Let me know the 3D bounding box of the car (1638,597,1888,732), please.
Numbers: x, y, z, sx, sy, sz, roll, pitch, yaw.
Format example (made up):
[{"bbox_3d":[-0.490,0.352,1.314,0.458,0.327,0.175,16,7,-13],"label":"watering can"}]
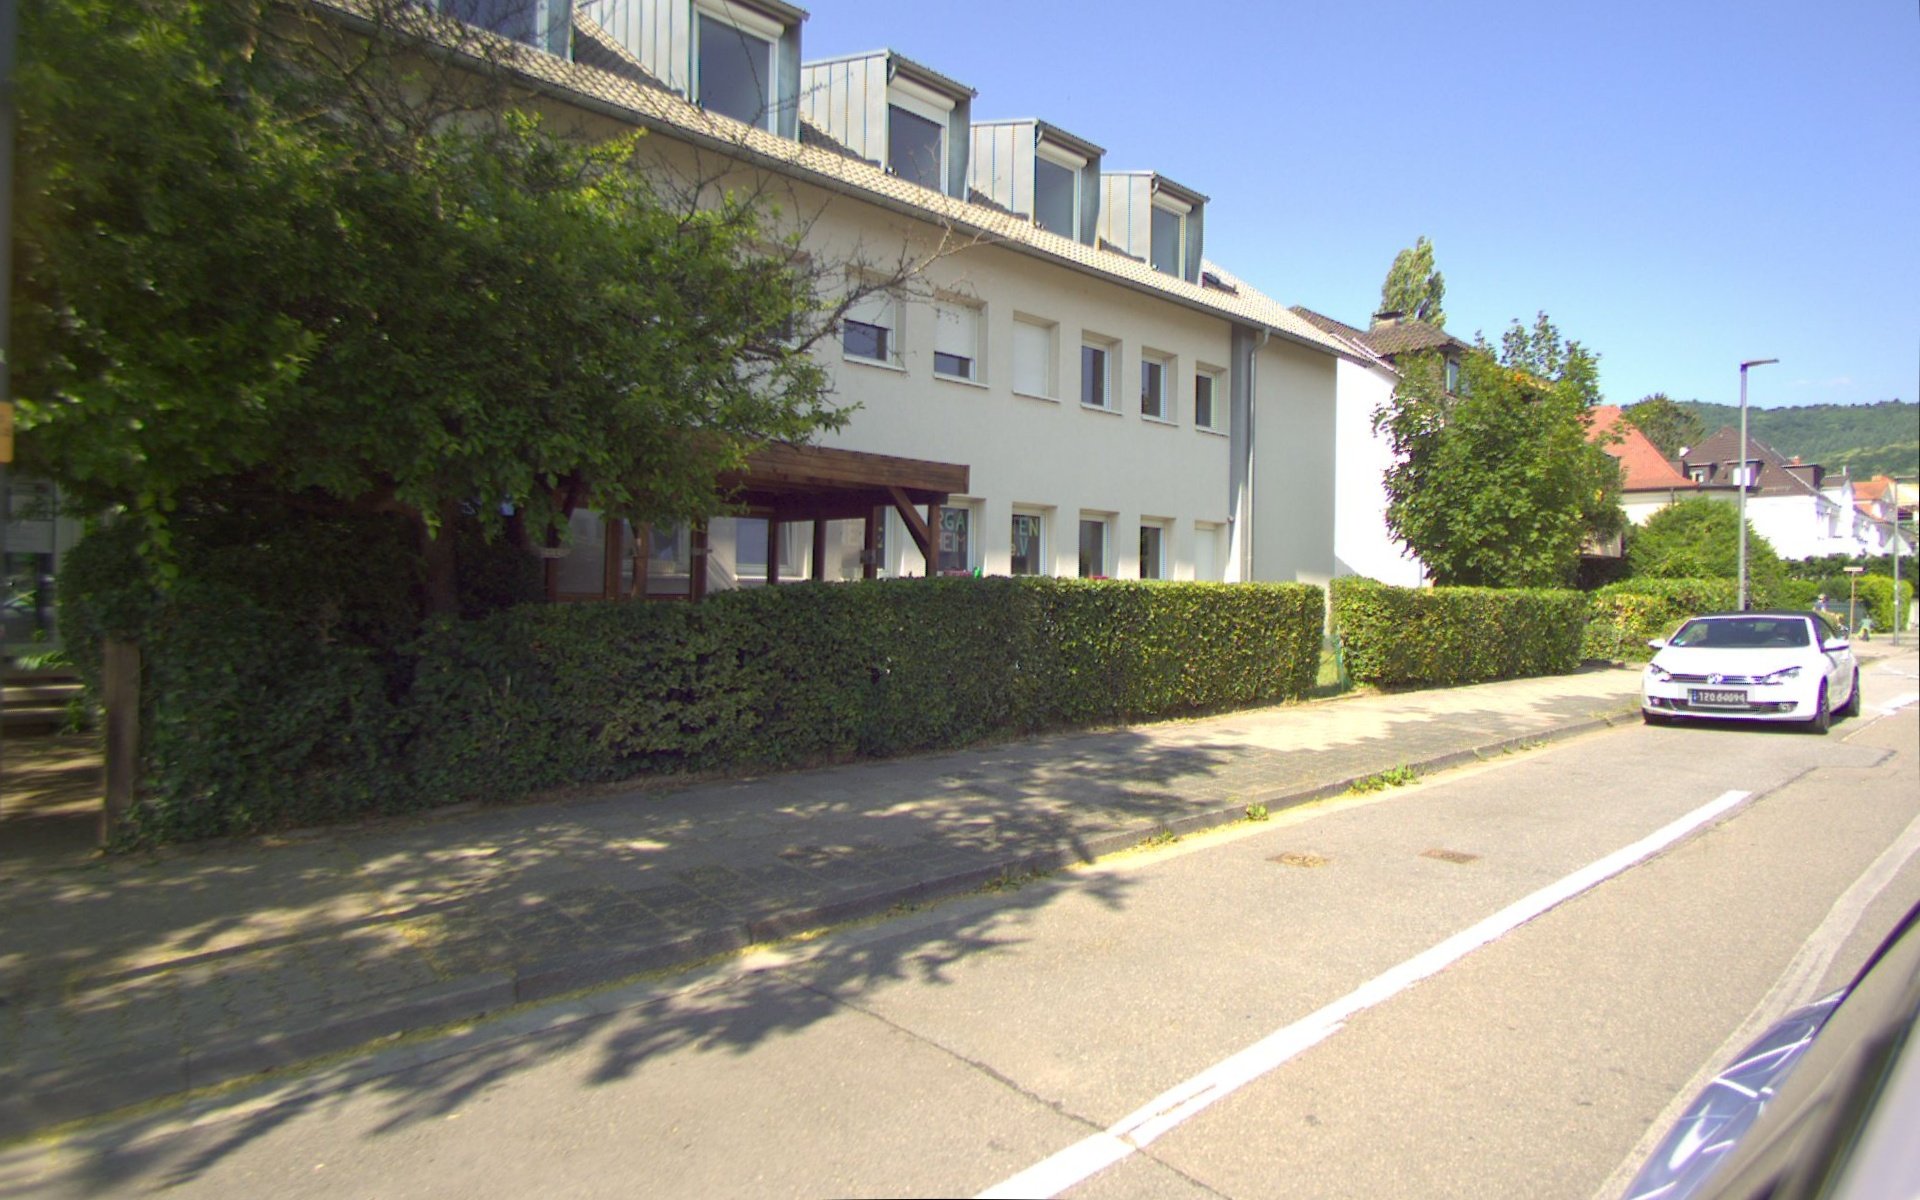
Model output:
[{"bbox_3d":[10.257,0.701,12.822,4.002,1.420,1.743,0,-1,-41],"label":"car"}]

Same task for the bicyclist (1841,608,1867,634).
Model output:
[{"bbox_3d":[33.618,0.795,38.062,0.601,0.945,0.397,-1,0,20],"label":"bicyclist"}]

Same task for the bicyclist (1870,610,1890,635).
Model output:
[{"bbox_3d":[35.392,0.847,38.940,0.398,0.941,0.652,-1,0,26],"label":"bicyclist"}]

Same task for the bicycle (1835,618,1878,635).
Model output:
[{"bbox_3d":[33.688,0.988,38.043,1.137,0.607,0.400,0,0,20],"label":"bicycle"}]

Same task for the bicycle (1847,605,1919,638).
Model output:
[{"bbox_3d":[35.743,0.809,38.770,0.846,1.173,2.715,-1,0,-8],"label":"bicycle"}]

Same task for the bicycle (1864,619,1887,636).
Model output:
[{"bbox_3d":[35.243,1.053,38.961,0.399,0.607,1.161,0,0,29],"label":"bicycle"}]

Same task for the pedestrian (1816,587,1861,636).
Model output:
[{"bbox_3d":[34.952,0.446,40.292,0.889,1.896,1.183,-1,0,17],"label":"pedestrian"}]
